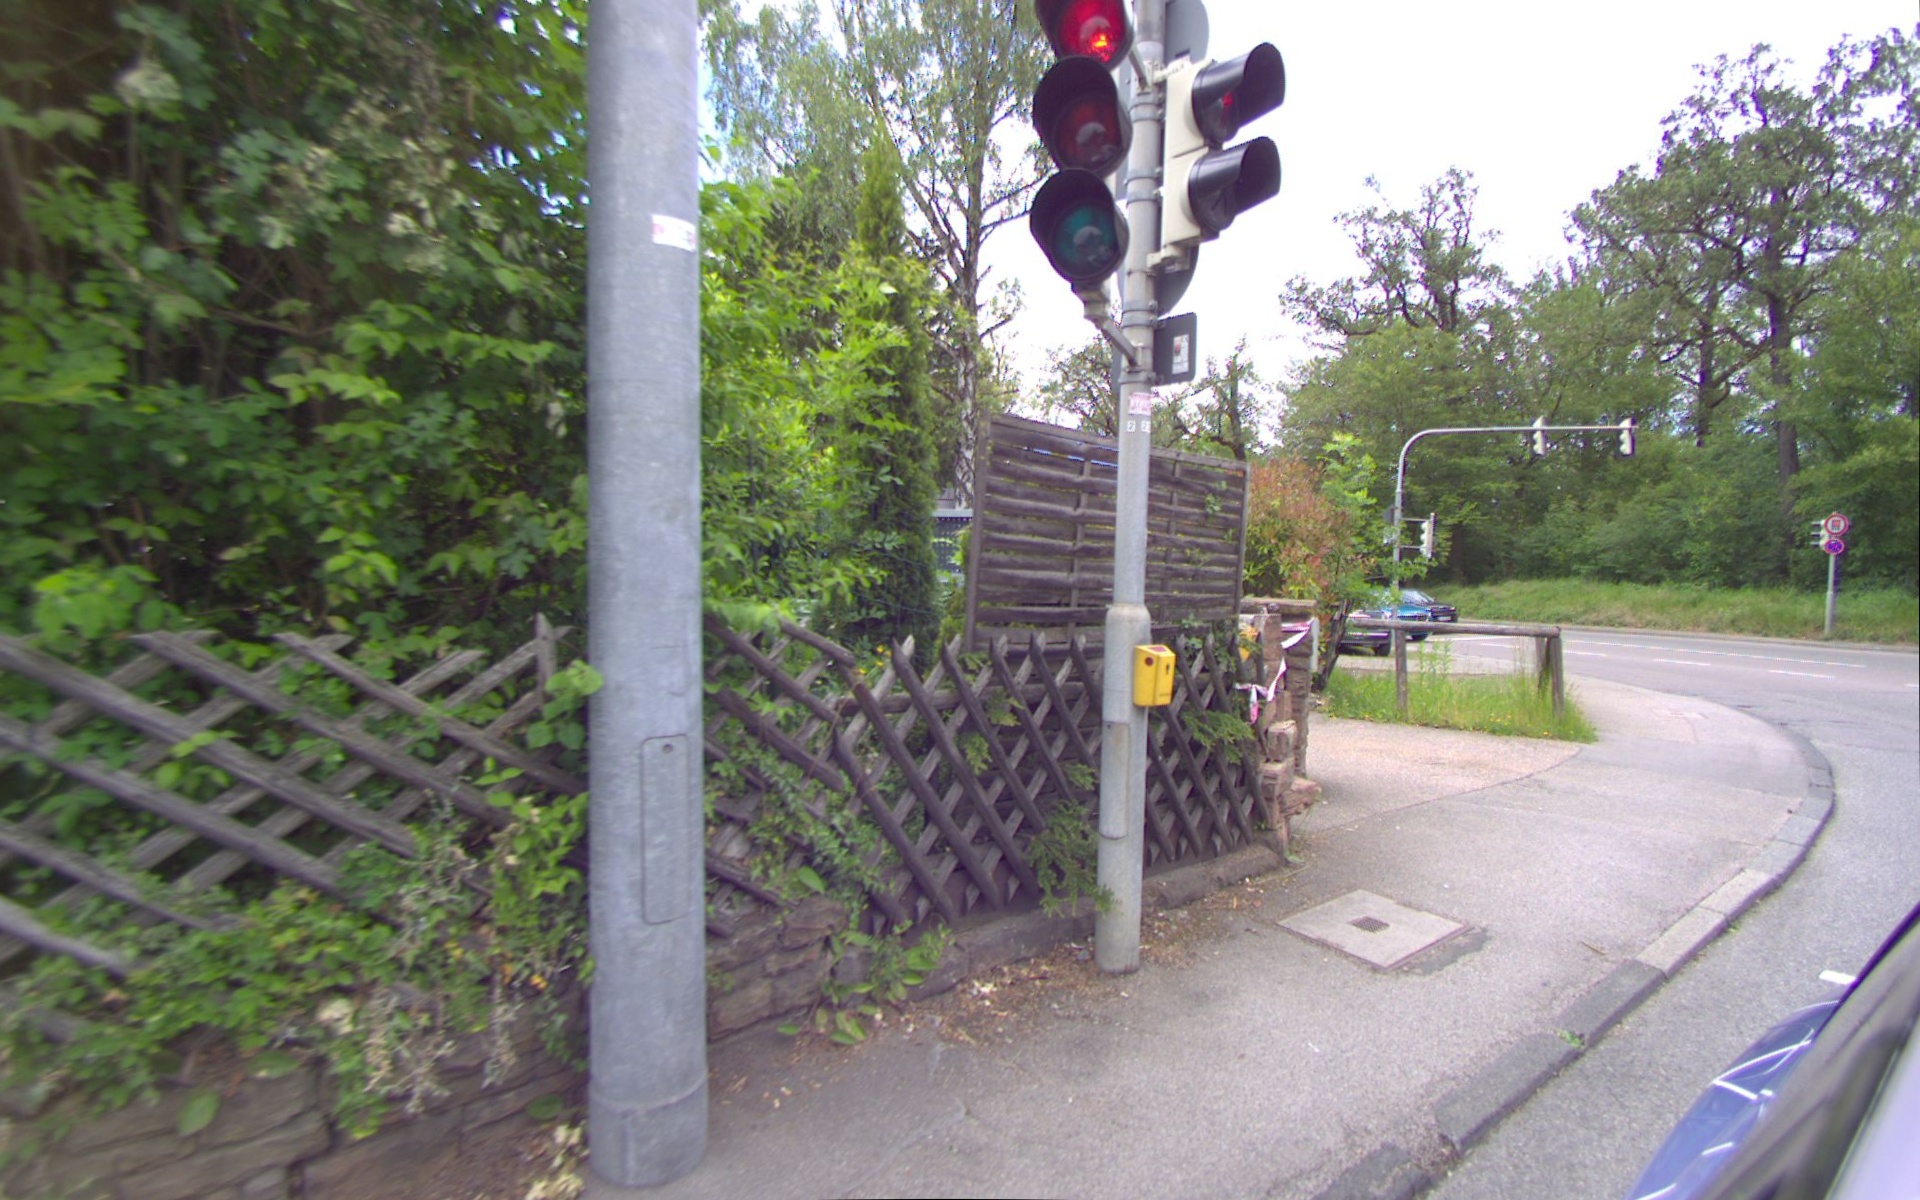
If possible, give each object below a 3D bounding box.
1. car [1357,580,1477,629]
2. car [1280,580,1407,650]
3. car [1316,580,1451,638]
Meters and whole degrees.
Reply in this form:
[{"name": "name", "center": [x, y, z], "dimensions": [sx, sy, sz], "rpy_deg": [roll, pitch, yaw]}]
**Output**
[{"name": "car", "center": [15.874, 0.121, 35.377], "dimensions": [1.702, 1.526, 4.009], "rpy_deg": [-2, 2, -13]}, {"name": "car", "center": [8.663, 0.280, 23.195], "dimensions": [1.626, 1.408, 3.603], "rpy_deg": [2, 1, 3]}, {"name": "car", "center": [13.428, 0.238, 32.339], "dimensions": [1.876, 1.596, 4.010], "rpy_deg": [-2, 3, -16]}]
